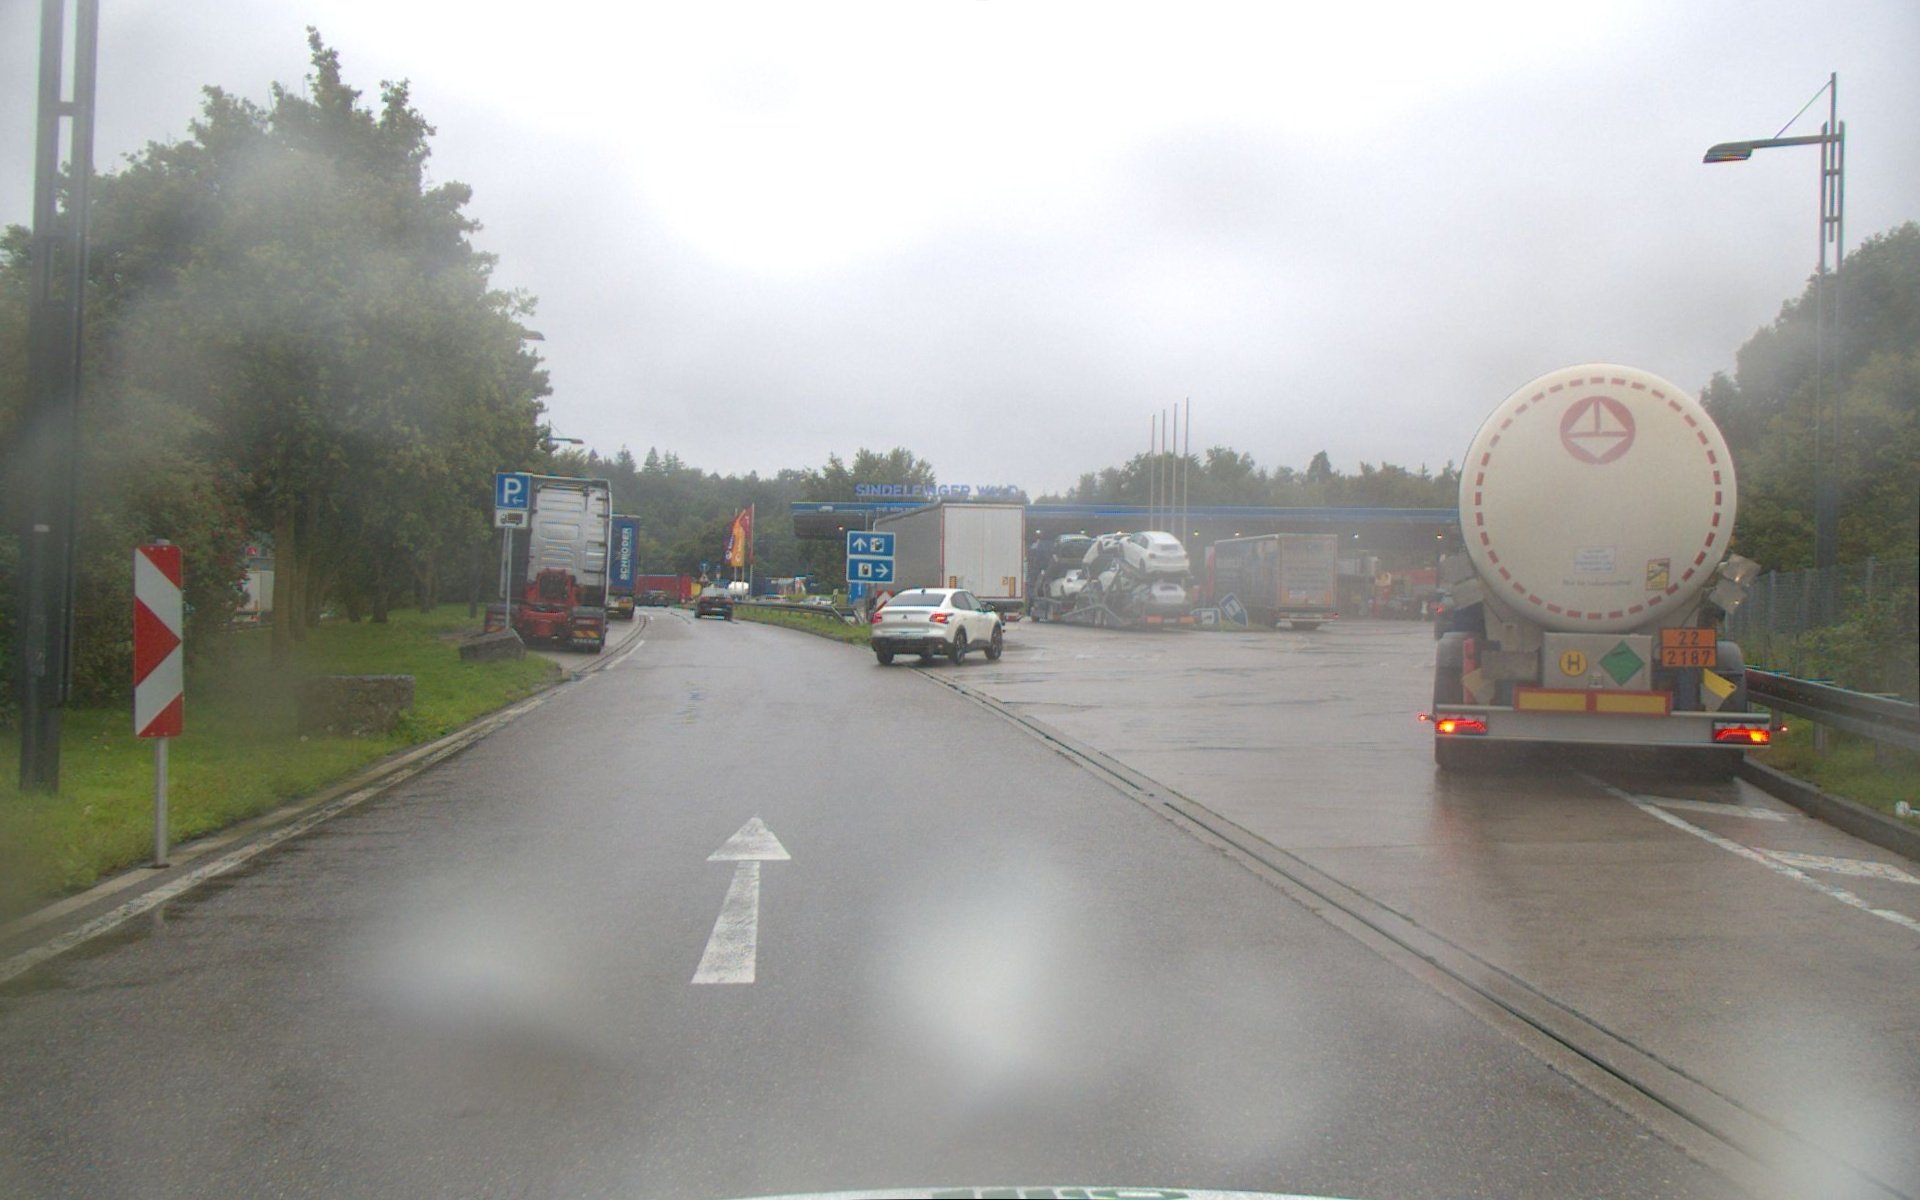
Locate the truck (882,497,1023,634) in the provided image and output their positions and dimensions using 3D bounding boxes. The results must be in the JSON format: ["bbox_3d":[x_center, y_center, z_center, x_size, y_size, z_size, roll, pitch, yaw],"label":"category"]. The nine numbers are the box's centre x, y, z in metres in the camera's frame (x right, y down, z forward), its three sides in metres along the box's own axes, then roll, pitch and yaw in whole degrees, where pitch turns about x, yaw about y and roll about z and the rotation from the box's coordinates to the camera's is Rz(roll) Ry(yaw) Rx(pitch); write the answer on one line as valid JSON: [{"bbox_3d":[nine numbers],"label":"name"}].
[{"bbox_3d":[-0.493,-1.074,53.993,2.328,3.941,12.421,0,1,-11],"label":"truck"}]

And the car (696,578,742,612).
[{"bbox_3d":[-11.351,-0.224,78.086,1.842,1.487,3.996,2,0,-4],"label":"car"}]

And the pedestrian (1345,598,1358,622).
[{"bbox_3d":[26.979,0.674,113.943,0.704,1.548,0.742,3,-2,22],"label":"pedestrian"}]

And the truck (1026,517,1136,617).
[{"bbox_3d":[5.460,-1.497,76.432,3.174,4.261,8.426,2,1,-9],"label":"truck"}]

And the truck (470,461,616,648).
[{"bbox_3d":[-9.583,-0.994,38.631,2.863,3.972,6.300,1,0,-11],"label":"truck"}]

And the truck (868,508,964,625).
[{"bbox_3d":[-1.671,-1.176,59.585,2.328,3.941,6.993,0,1,-11],"label":"truck"}]

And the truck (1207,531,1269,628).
[{"bbox_3d":[13.697,-0.989,81.737,1.948,4.629,4.792,1,0,-3],"label":"truck"}]

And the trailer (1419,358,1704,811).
[{"bbox_3d":[6.080,-0.118,17.203,1.939,3.281,10.325,1,0,18],"label":"trailer"}]

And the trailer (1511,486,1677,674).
[{"bbox_3d":[13.930,-0.390,35.805,2.090,3.501,10.238,1,0,28],"label":"trailer"}]

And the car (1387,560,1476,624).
[{"bbox_3d":[17.028,-0.259,59.934,1.953,2.049,3.998,4,-2,-1],"label":"car"}]

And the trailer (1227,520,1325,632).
[{"bbox_3d":[14.091,-1.005,74.455,1.954,4.639,9.803,1,0,-3],"label":"trailer"}]

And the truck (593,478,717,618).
[{"bbox_3d":[-13.142,-2.083,70.341,4.708,5.398,11.035,1,1,-13],"label":"truck"}]

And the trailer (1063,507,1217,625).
[{"bbox_3d":[6.988,-1.332,66.559,3.156,4.262,11.506,2,1,-9],"label":"trailer"}]

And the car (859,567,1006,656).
[{"bbox_3d":[-0.504,0.239,34.264,1.951,1.708,4.002,1,0,16],"label":"car"}]

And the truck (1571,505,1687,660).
[{"bbox_3d":[16.506,-0.415,40.658,2.105,3.574,4.639,1,0,28],"label":"truck"}]

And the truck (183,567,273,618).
[{"bbox_3d":[-50.969,-0.529,115.262,5.152,3.054,1.995,5,0,-12],"label":"truck"}]

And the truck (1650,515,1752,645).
[{"bbox_3d":[23.202,-0.608,51.694,2.144,3.895,4.127,1,0,35],"label":"truck"}]

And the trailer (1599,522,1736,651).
[{"bbox_3d":[20.681,-0.381,48.104,2.145,3.451,7.537,1,0,35],"label":"trailer"}]

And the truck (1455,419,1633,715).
[{"bbox_3d":[7.922,-0.414,22.616,2.010,3.593,4.748,1,0,18],"label":"truck"}]
